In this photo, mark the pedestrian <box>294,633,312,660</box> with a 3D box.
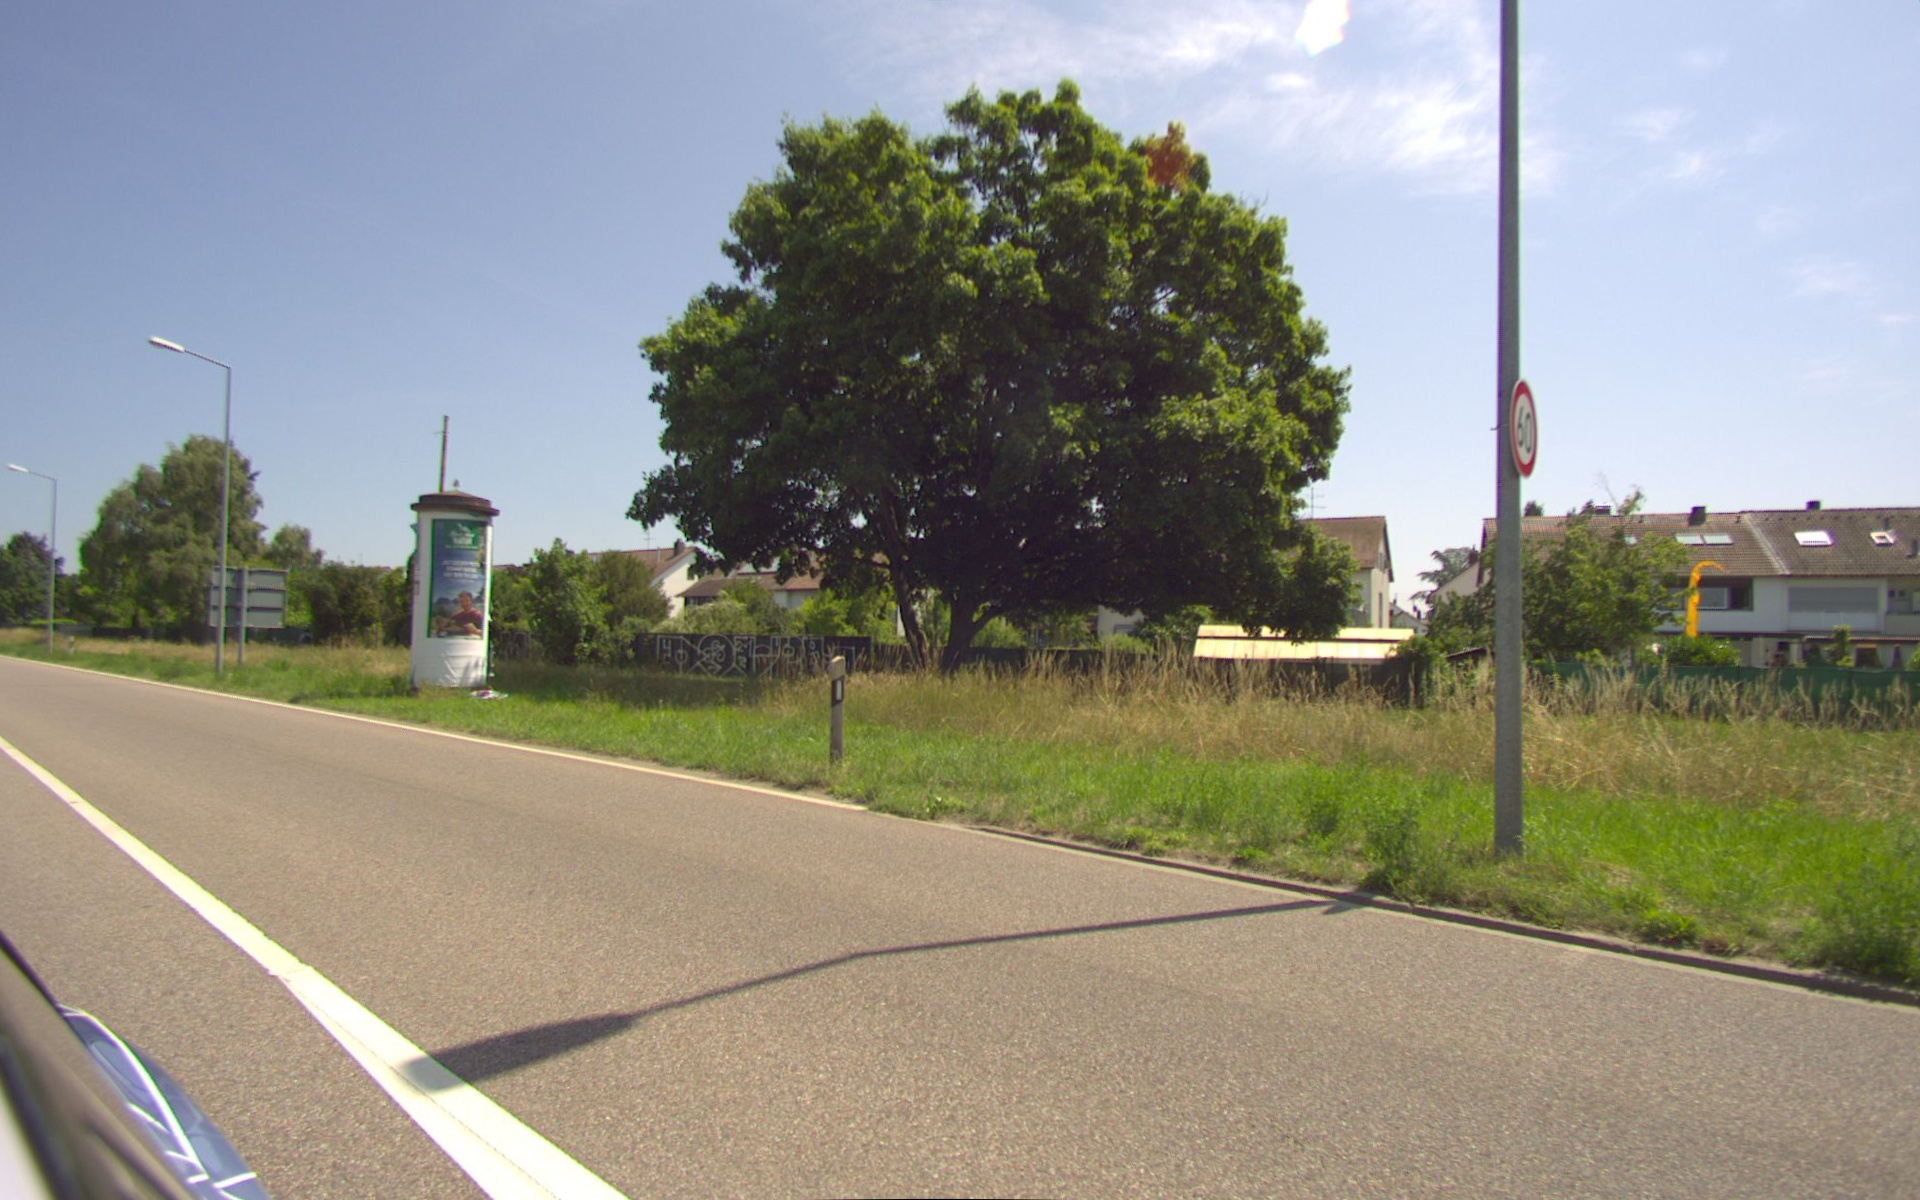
[{"bbox_3d":[-32.849,2.324,50.582,0.798,1.365,0.574,-2,-3,43],"label":"pedestrian"}]
